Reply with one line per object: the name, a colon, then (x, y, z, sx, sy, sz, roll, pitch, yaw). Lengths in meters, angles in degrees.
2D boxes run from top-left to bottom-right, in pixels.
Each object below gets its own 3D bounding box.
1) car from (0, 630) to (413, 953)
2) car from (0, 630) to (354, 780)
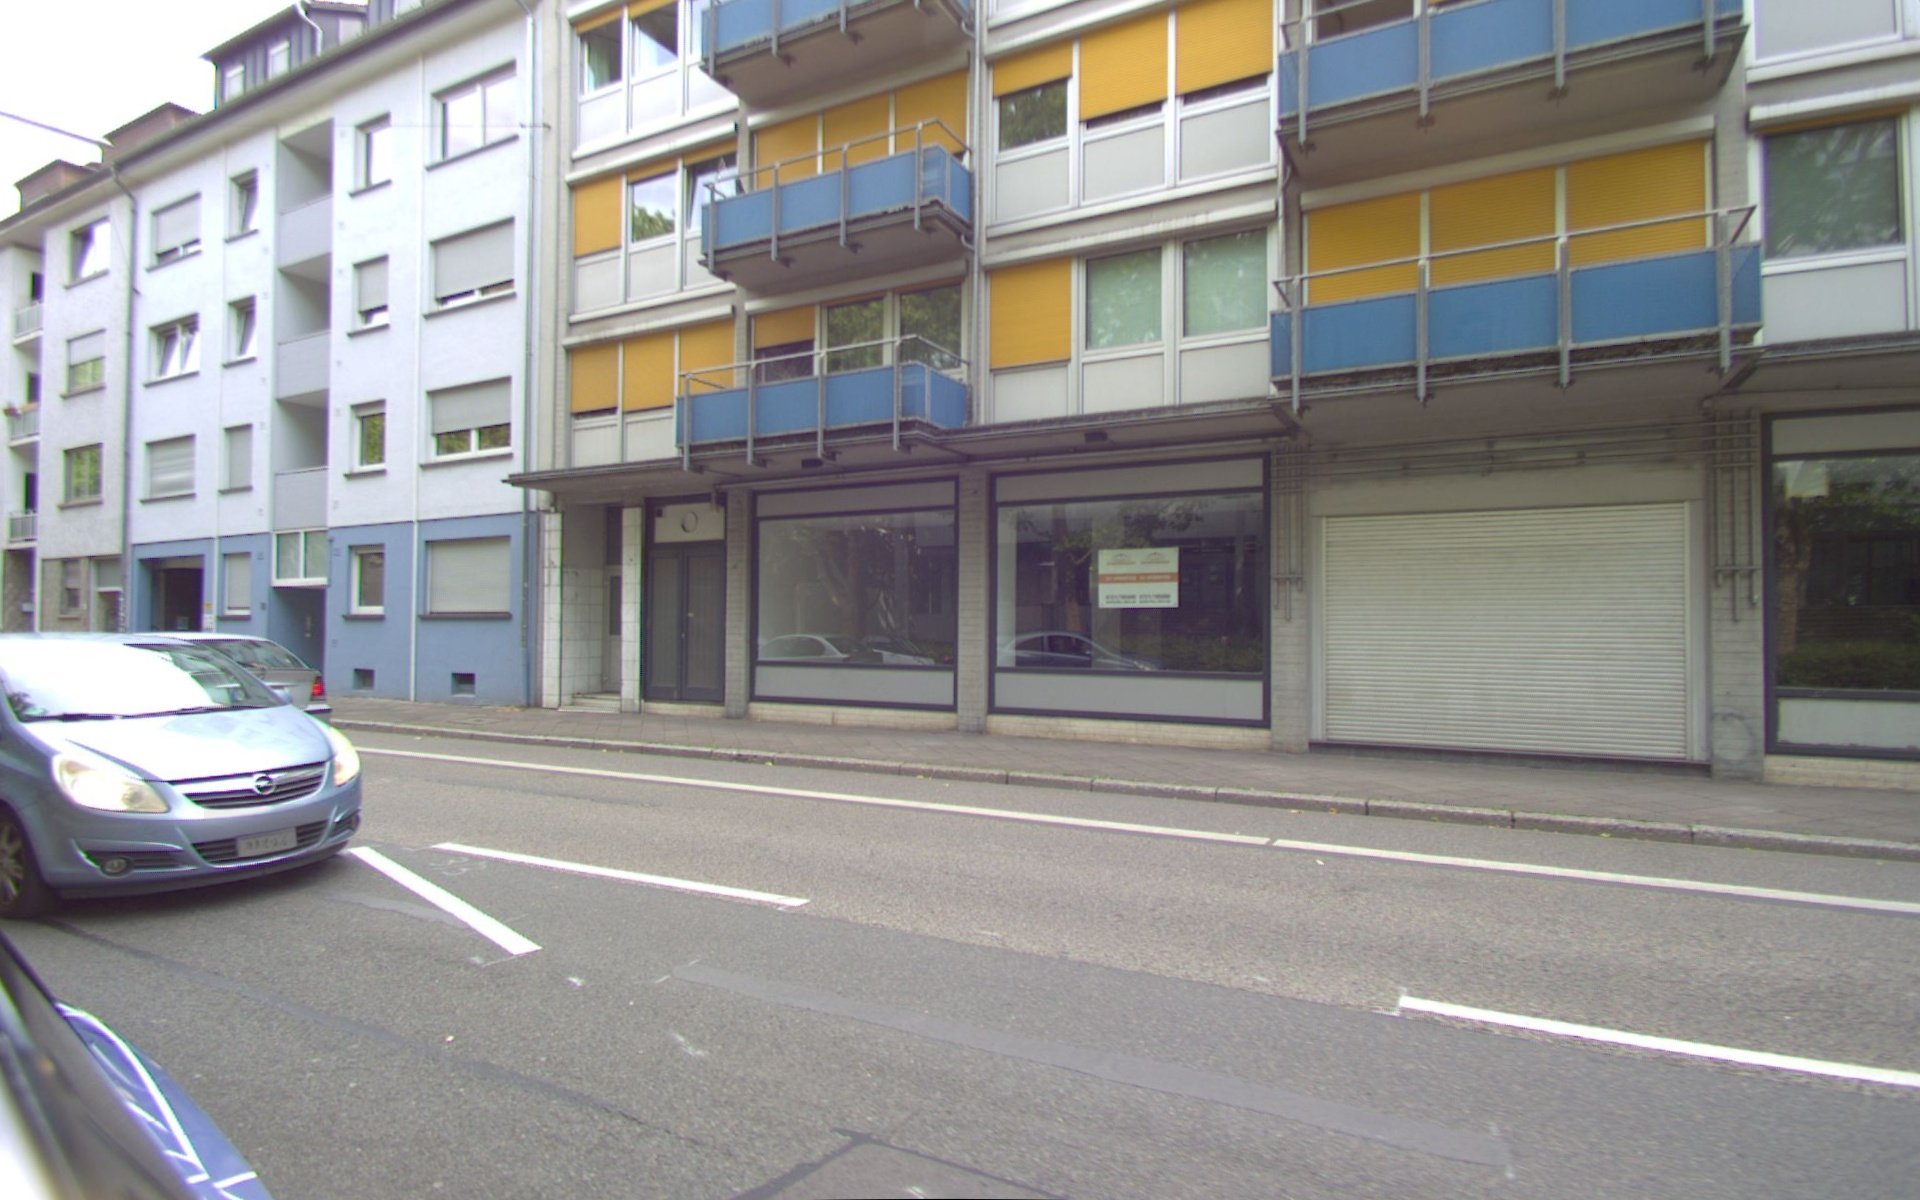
car: (-5.525, 0.906, 6.265, 4.233, 1.431, 1.702, -1, -2, 28)
car: (-8.966, 1.083, 11.433, 4.079, 1.438, 1.746, -1, -4, 28)
